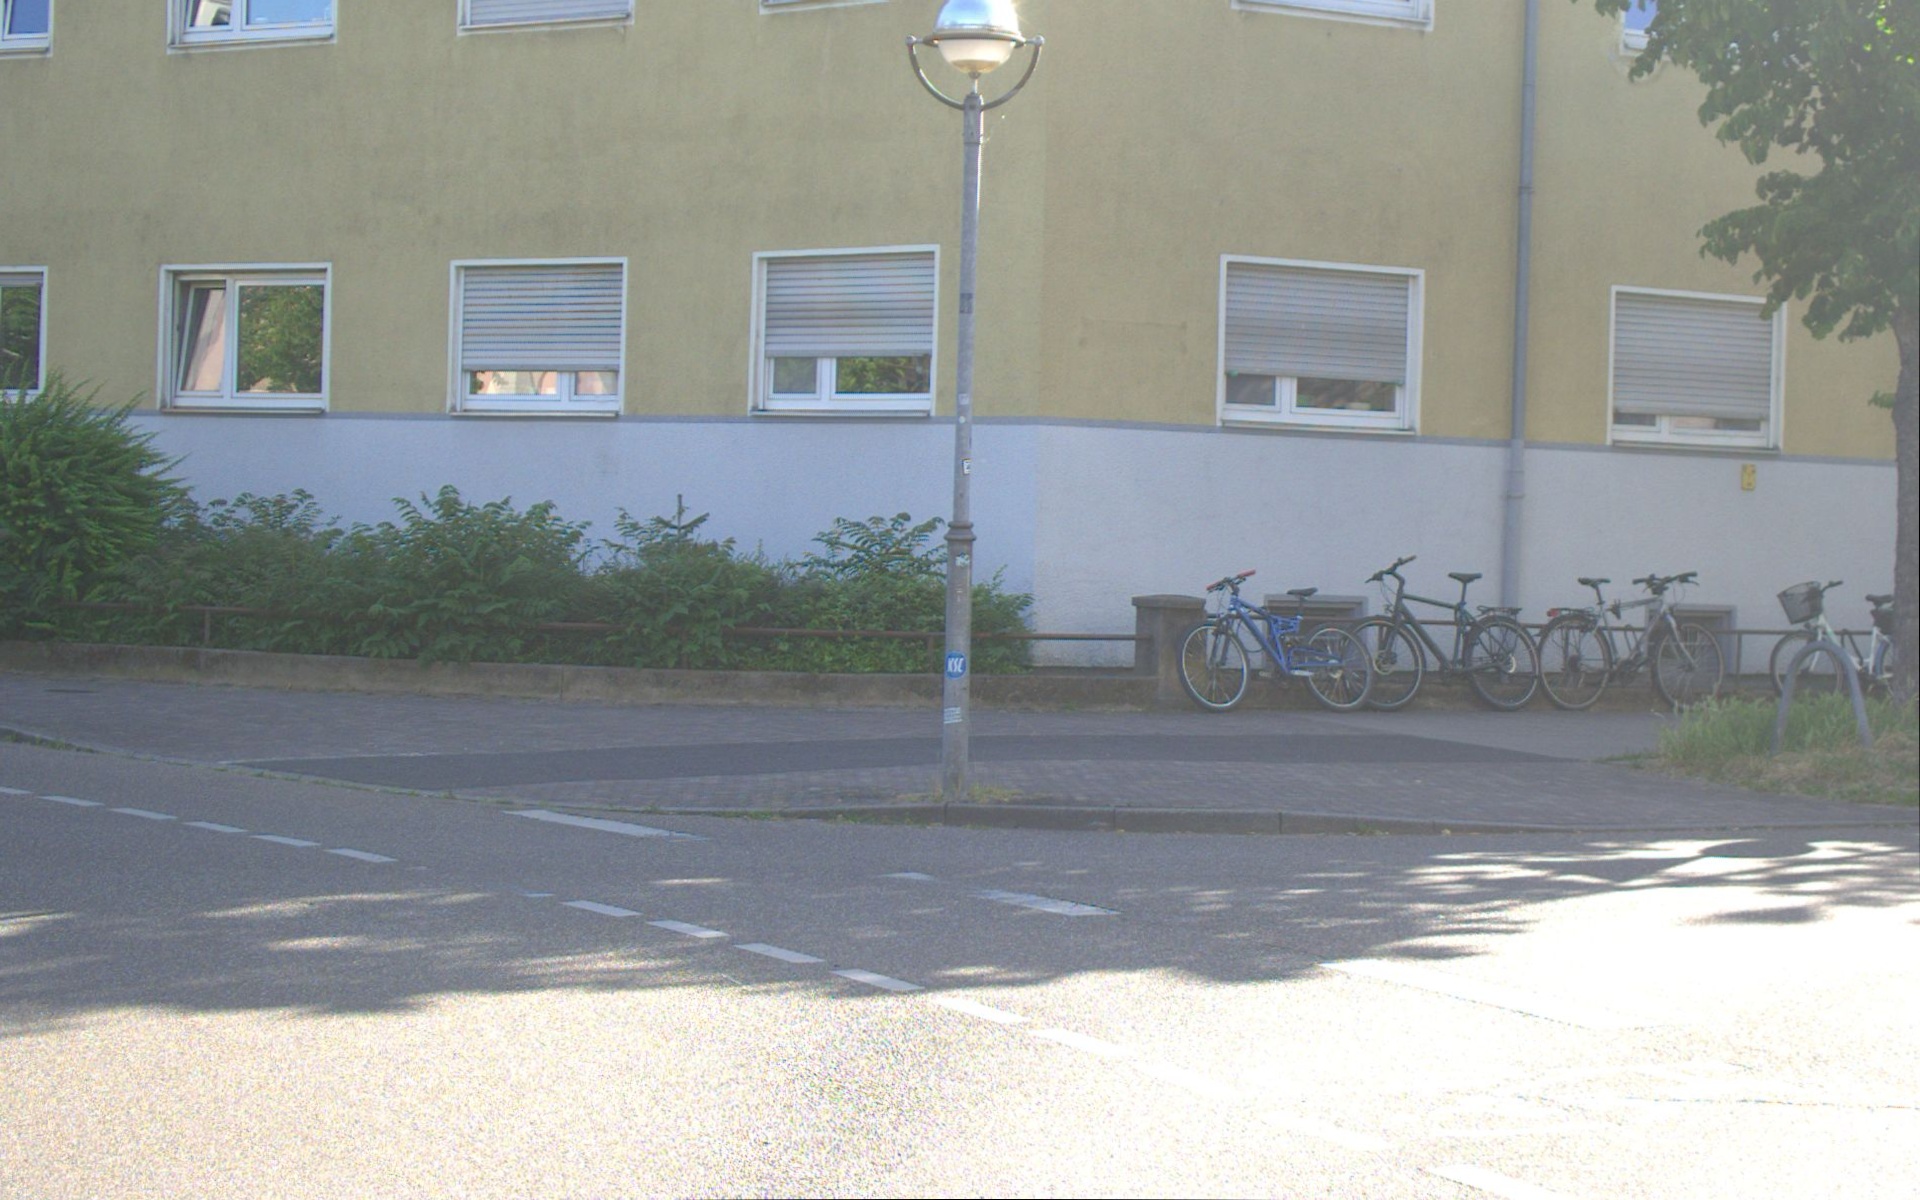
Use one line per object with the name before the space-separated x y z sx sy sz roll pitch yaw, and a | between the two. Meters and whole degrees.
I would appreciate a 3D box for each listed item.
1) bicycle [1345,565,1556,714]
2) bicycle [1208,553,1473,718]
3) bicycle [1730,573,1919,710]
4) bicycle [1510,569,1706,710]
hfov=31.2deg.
bicycle | 3.559 0.281 25.004 1.445 1.023 0.500 2 1 2
bicycle | 2.680 0.242 24.312 1.794 1.104 0.500 2 1 2
bicycle | 6.777 0.325 26.756 1.444 1.023 0.500 1 1 -18
bicycle | 4.856 0.297 25.738 1.445 1.023 0.500 1 1 -31
